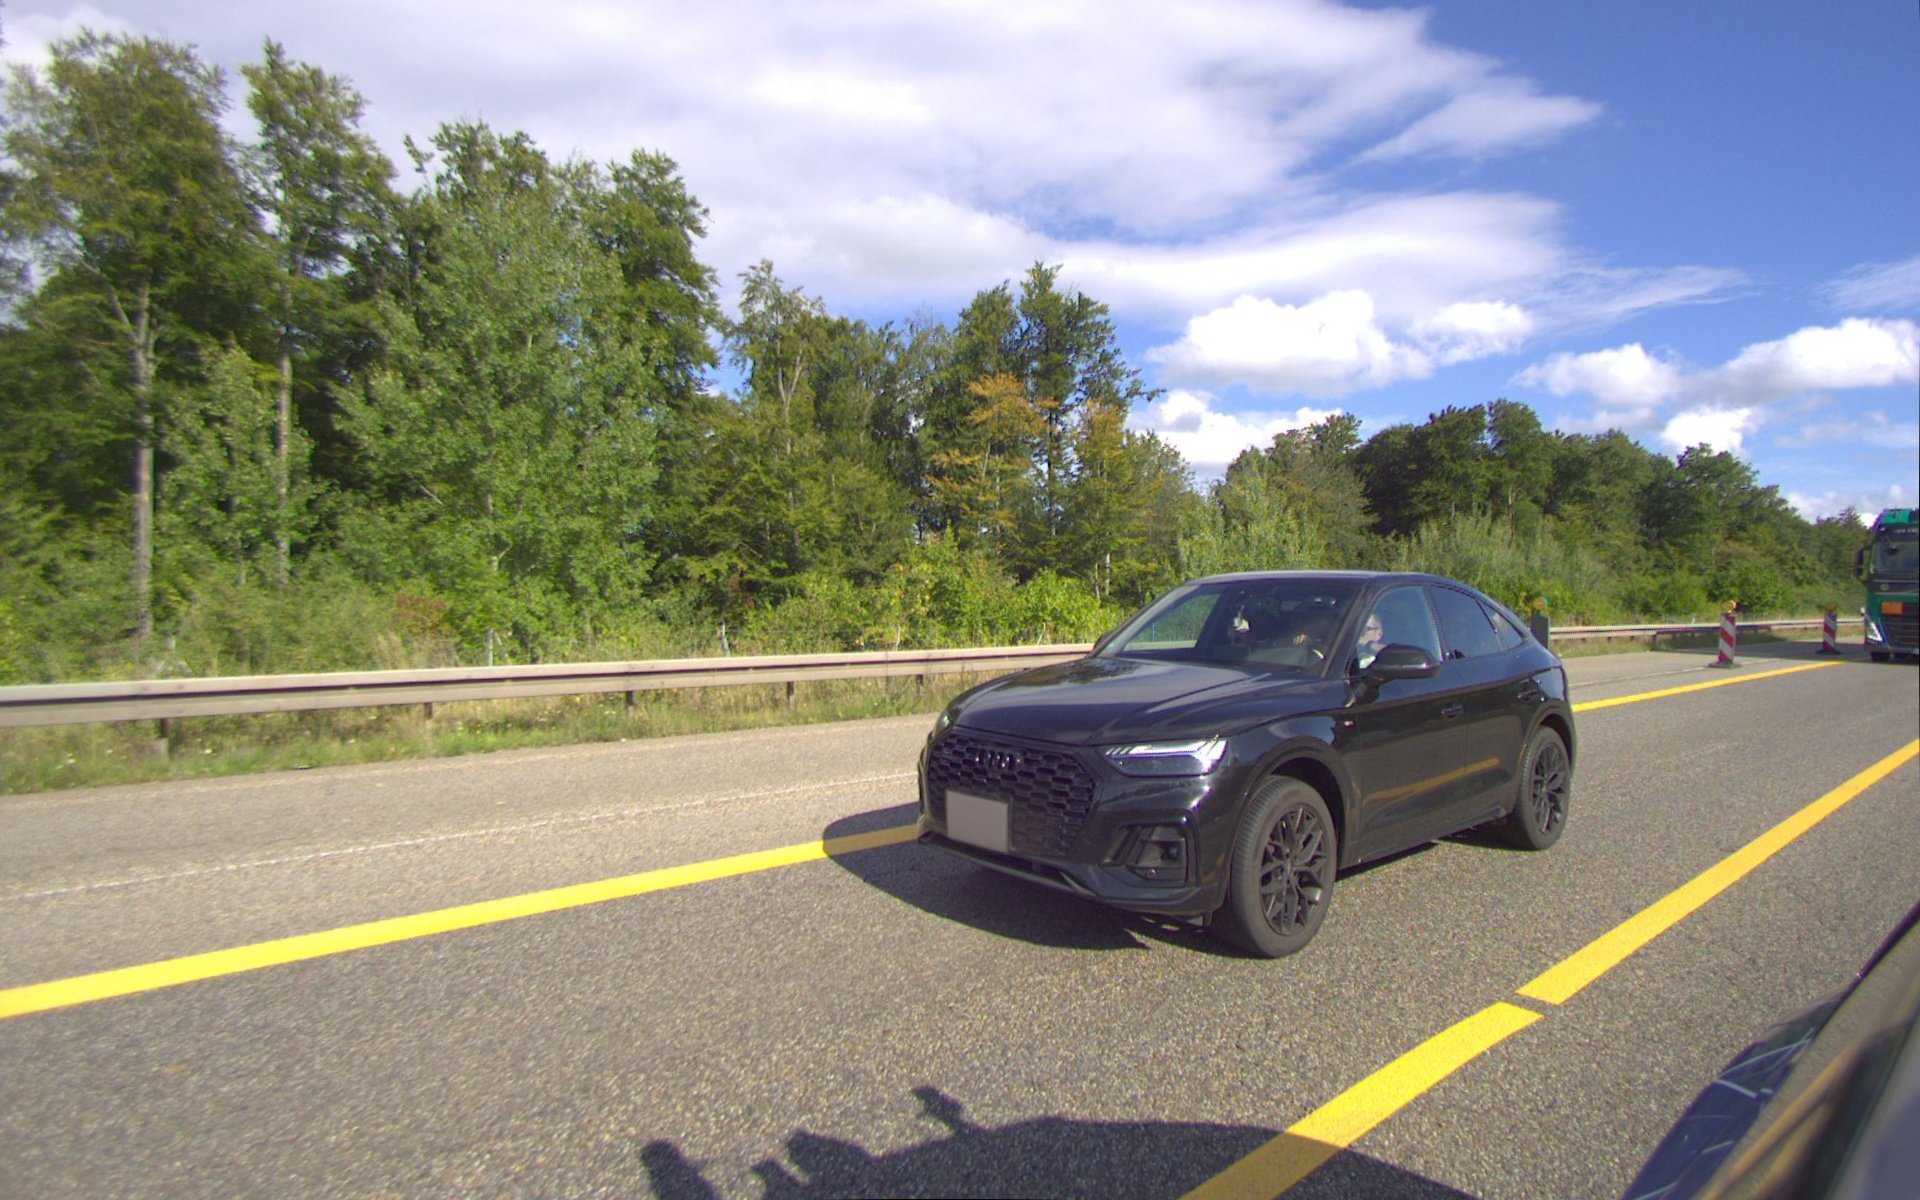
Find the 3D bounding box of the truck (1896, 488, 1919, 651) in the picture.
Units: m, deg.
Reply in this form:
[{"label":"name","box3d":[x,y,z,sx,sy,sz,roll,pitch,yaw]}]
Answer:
[{"label":"truck","box3d":[30.579,-0.726,29.809,13.953,4.196,2.470,1,-1,-39]}]

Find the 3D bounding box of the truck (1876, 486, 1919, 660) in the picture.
[{"label":"truck","box3d":[25.815,-0.658,25.908,6.733,4.151,2.527,0,0,-39]}]

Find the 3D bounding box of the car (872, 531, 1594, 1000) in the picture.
[{"label":"car","box3d":[1.746,0.555,5.563,4.218,1.623,1.781,0,0,-41]}]
